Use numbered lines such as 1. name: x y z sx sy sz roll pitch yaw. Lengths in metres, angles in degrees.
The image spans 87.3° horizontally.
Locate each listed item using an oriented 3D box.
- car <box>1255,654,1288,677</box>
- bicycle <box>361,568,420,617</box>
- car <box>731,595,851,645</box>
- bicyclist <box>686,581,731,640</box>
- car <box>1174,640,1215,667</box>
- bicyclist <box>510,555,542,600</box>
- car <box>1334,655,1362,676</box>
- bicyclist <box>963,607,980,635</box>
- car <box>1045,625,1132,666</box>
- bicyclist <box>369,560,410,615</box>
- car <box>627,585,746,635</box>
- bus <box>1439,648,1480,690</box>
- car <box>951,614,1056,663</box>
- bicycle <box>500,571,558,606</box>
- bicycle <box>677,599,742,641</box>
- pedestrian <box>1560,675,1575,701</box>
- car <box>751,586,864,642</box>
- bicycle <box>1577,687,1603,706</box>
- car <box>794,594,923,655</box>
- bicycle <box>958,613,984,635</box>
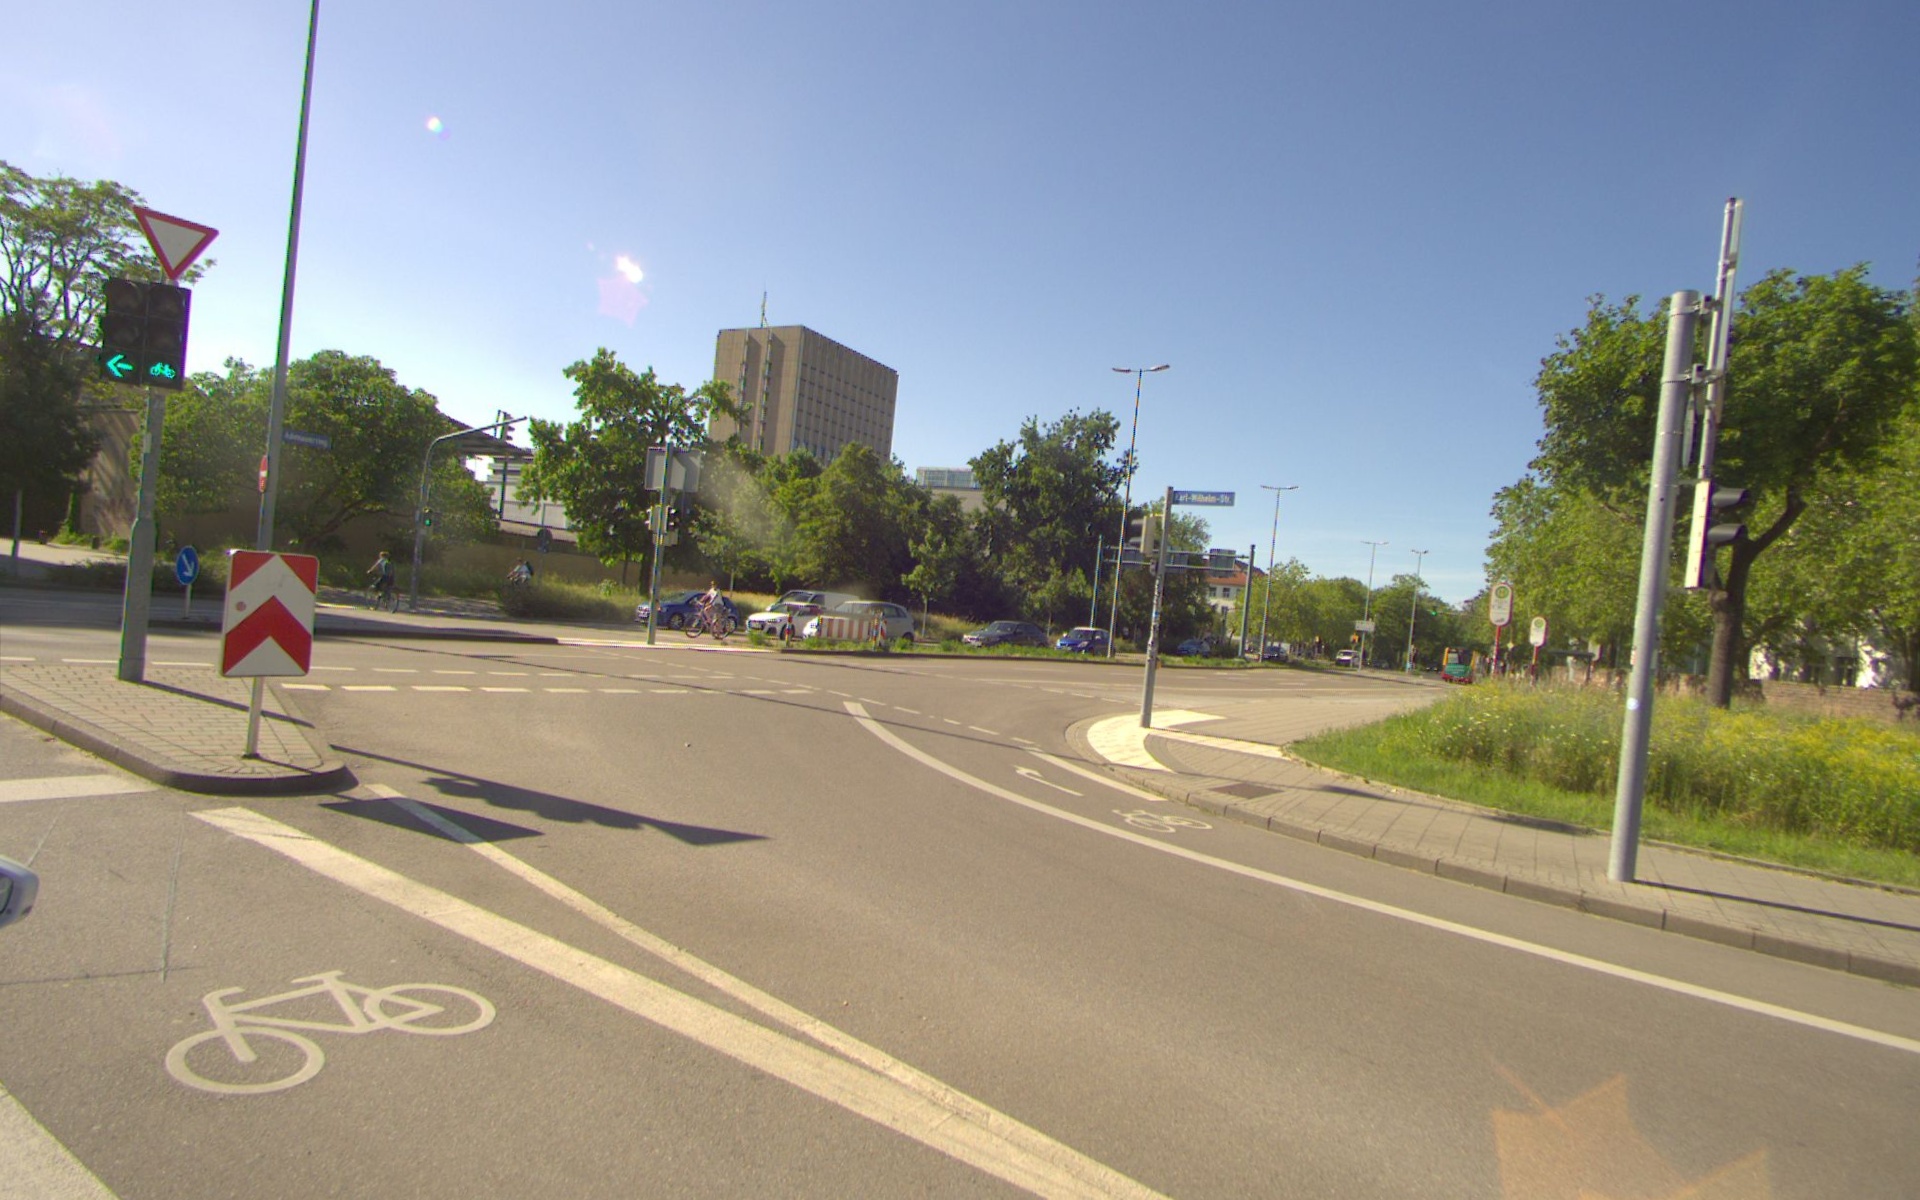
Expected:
1. car: 30.316 6.388 97.777 1.907 1.976 4.748 4 -2 31
2. bicycle: -16.427 -0.209 28.997 1.840 1.180 0.641 8 2 34
3. car: -6.204 0.766 37.206 1.971 1.487 3.983 5 -1 39
4. bicyclist: -7.714 0.325 30.920 0.734 1.707 0.974 6 2 33
5. car: 18.682 4.270 80.096 1.816 1.851 4.382 4 -2 31
6. bicyclist: -17.070 -0.884 39.581 0.622 1.616 0.828 10 4 40
7. car: 42.262 7.138 109.531 1.908 1.976 4.520 4 -2 33
8. bicyclist: 0.724 1.326 63.531 0.633 1.666 0.774 6 1 35
9. car: 6.000 2.131 46.570 1.953 1.573 4.710 4 -2 34
10. bicyclist: -16.446 -0.363 29.014 0.764 1.463 0.641 8 2 34
11. car: -9.984 0.398 36.940 1.678 1.459 3.989 4 -2 34
12. bus: 45.996 6.432 92.774 2.935 3.310 6.257 6 -2 25
13. car: 1.813 1.576 40.365 1.953 1.573 4.710 4 -2 34
14. bicycle: -17.000 -0.436 39.748 0.633 1.180 1.948 9 3 39
15. bicycle: -7.693 0.630 31.012 0.736 1.180 1.864 6 1 33
16. pedestrian: 39.096 5.658 64.719 0.642 1.629 0.558 6 -1 29
17. car: -6.378 0.635 42.603 1.909 1.976 4.744 4 -2 34
18. bicycle: 40.770 6.223 65.100 0.781 1.088 2.088 7 -2 16
19. car: -3.254 0.832 33.033 1.762 1.644 4.304 4 -2 34
20. bicycle: 0.726 1.524 63.552 0.633 1.179 1.865 6 0 34
